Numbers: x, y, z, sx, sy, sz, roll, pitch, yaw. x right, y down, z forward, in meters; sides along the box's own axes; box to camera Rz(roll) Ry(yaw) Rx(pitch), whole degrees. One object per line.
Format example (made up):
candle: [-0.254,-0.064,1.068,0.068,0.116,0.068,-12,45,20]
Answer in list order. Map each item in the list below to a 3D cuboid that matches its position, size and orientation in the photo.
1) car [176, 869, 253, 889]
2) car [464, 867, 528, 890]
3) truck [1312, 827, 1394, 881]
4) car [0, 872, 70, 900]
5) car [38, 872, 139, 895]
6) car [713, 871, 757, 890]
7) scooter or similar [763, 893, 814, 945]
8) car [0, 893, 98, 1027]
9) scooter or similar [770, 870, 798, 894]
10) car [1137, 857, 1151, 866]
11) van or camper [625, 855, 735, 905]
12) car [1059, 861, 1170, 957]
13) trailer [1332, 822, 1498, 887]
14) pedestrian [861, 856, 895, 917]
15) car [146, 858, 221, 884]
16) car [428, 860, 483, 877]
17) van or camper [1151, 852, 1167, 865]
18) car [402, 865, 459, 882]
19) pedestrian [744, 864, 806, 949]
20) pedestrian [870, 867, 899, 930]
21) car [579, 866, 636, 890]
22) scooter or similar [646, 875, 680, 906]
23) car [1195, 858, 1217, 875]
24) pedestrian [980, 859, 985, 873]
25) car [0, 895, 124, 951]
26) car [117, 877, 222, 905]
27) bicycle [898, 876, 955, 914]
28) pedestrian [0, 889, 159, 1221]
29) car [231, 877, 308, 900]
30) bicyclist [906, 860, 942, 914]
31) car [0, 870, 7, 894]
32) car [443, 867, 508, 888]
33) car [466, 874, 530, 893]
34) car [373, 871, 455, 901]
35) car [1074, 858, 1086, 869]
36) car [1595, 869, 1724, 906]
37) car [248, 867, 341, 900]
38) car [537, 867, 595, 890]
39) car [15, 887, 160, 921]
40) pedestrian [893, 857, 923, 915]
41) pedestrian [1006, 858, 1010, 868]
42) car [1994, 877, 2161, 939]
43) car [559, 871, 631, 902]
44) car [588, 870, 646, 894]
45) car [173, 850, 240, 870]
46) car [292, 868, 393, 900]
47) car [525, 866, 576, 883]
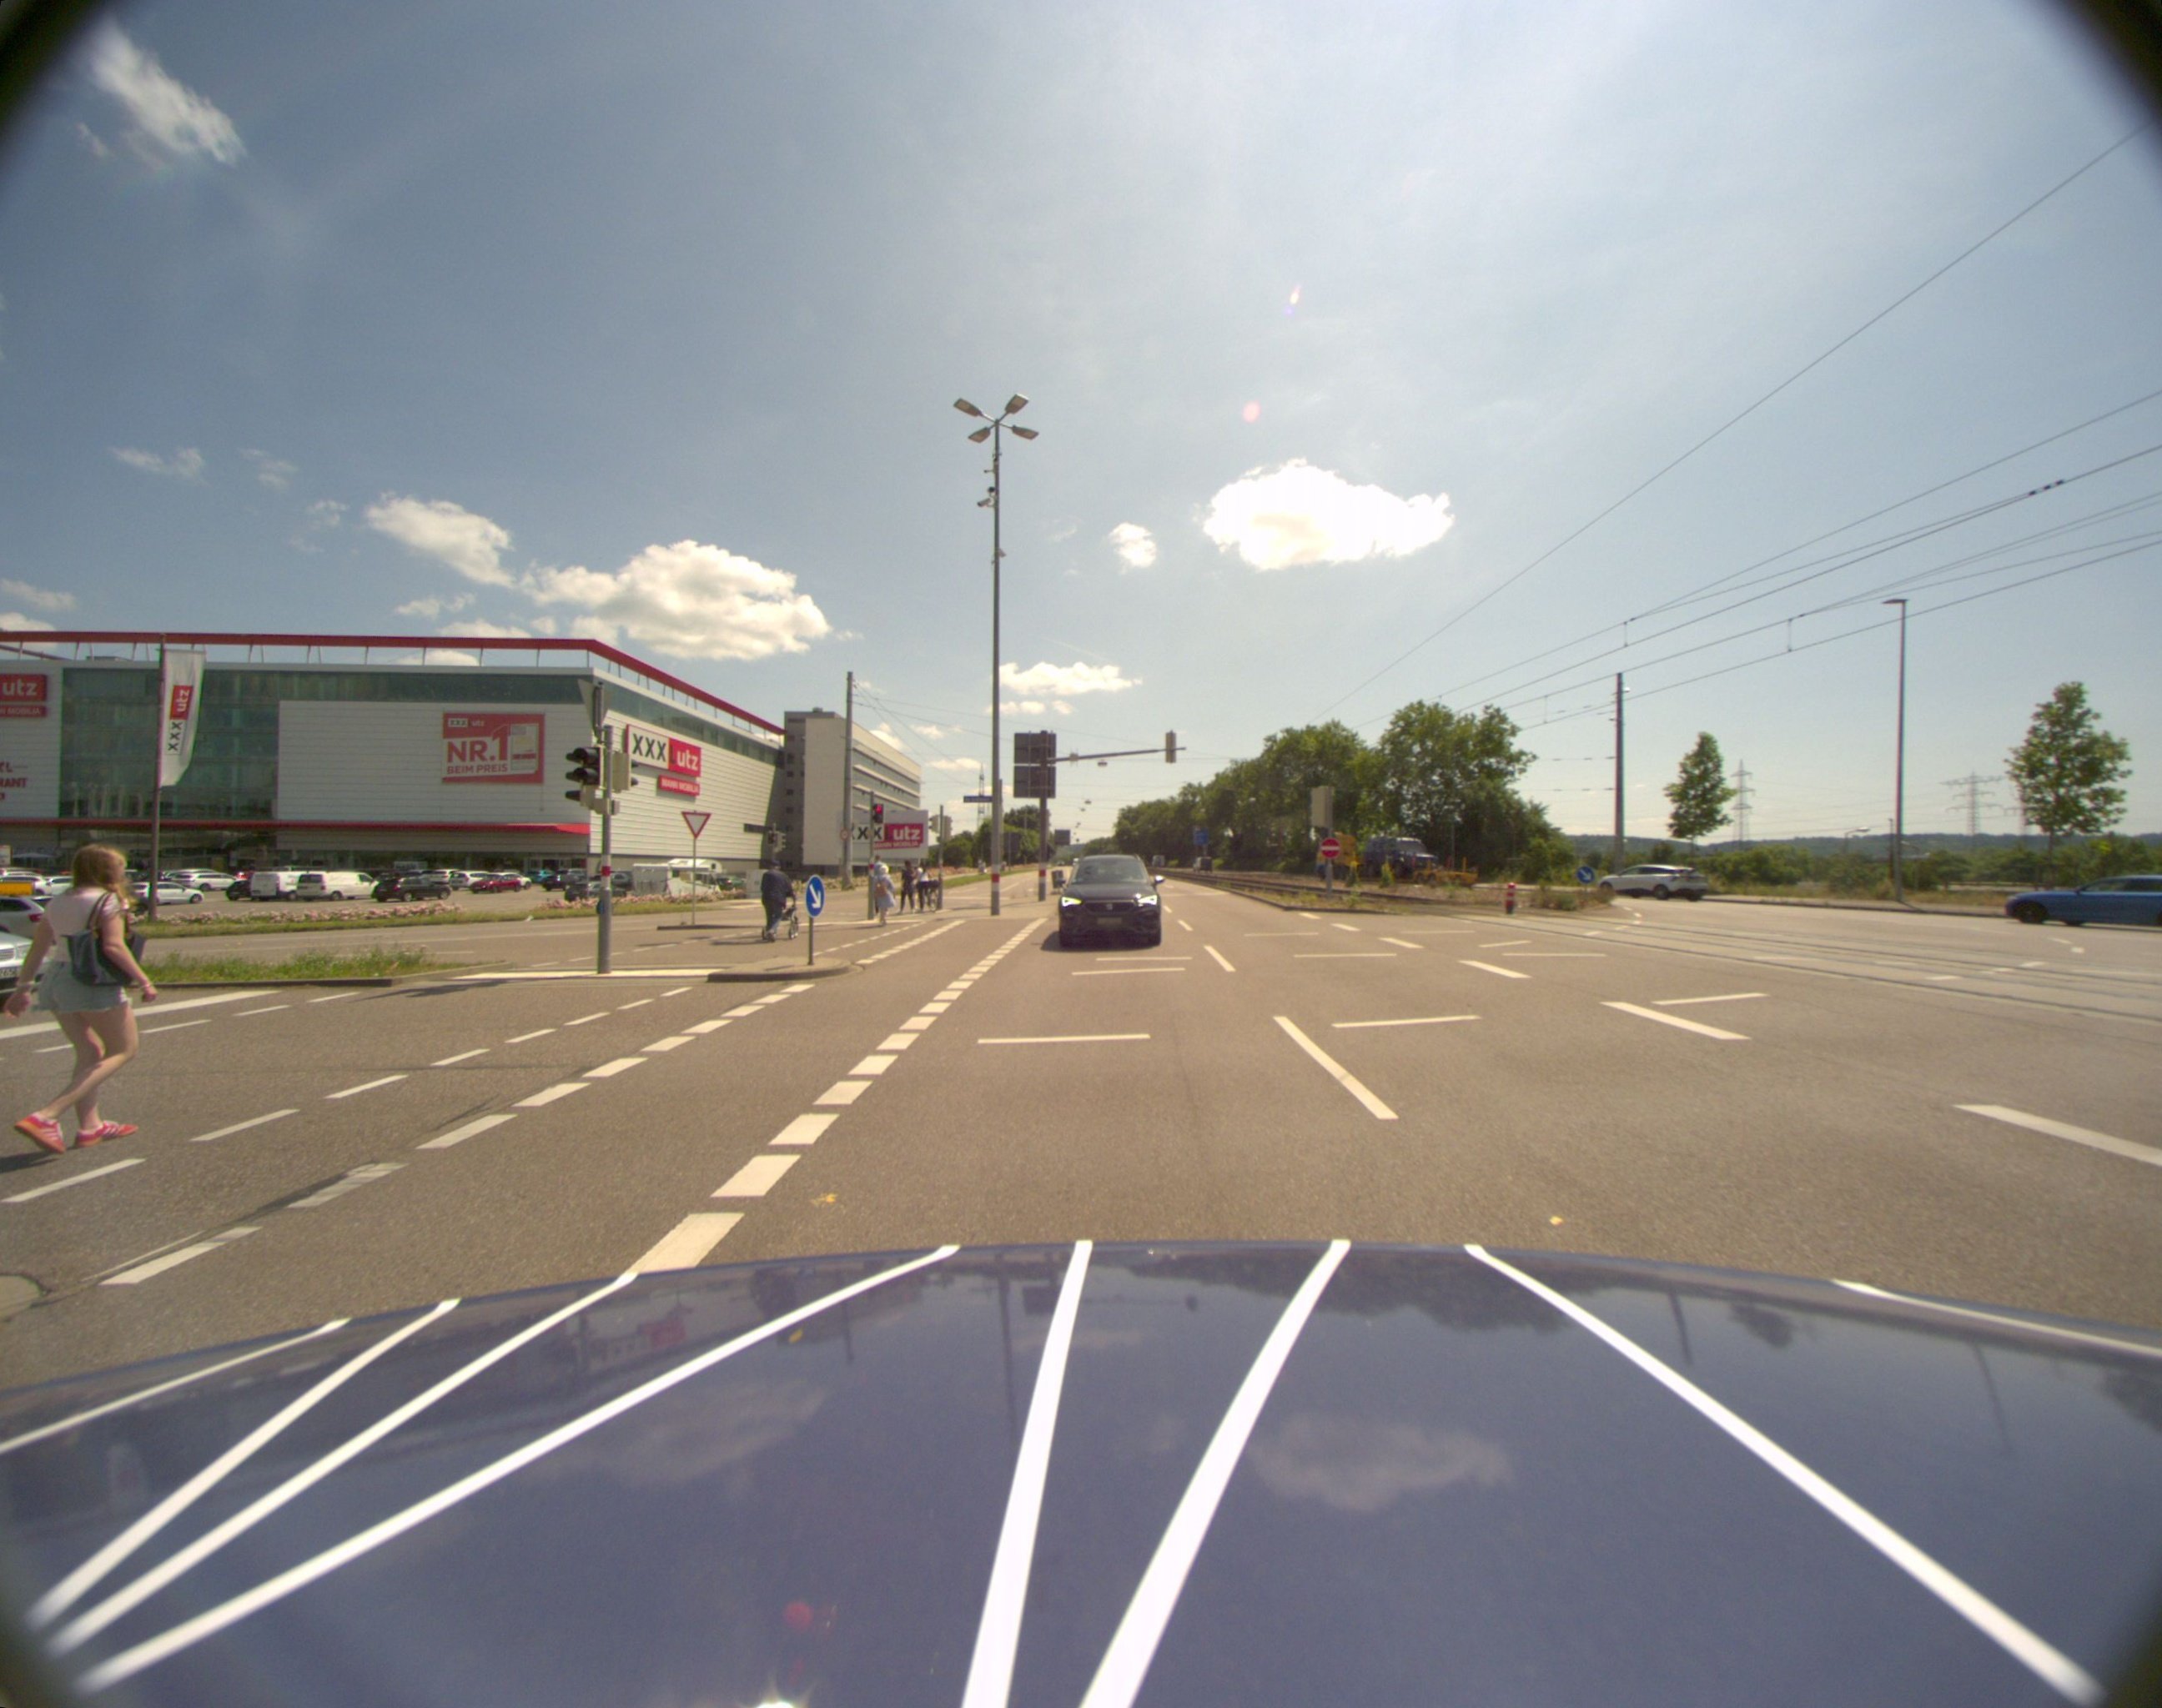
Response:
car: [-70.477,2.006,61.873,1.693,1.518,4.000,-1,0,0]
car: [-50.612,2.077,65.885,1.998,1.883,4.520,-1,0,1]
truck: [21.533,0.048,60.769,3.135,4.015,7.470,0,0,-7]
car: [-68.053,2.019,47.924,1.852,1.692,4.871,-1,0,3]
car: [-70.278,2.067,53.894,1.852,1.430,4.001,-1,0,3]
car: [-30.830,2.308,67.855,1.999,1.554,4.519,0,0,-2]
scooter or similar: [-6.144,1.363,15.996,0.691,1.025,0.863,-1,0,5]
car: [-13.405,1.158,7.970,3.833,1.389,1.804,0,0,0]
scooter or similar: [-15.333,1.458,39.194,0.479,1.120,1.281,-1,3,28]
car: [12.997,1.514,156.757,2.000,1.627,4.263,2,0,-6]
van or camper: [-26.357,1.613,50.418,2.714,2.929,7.616,-1,0,5]
car: [0.624,0.935,14.630,1.819,1.583,4.001,-1,0,2]
trailer: [22.513,0.270,53.044,3.125,3.847,15.477,1,-2,-7]
pedestrian: [-6.318,0.995,23.670,0.805,1.854,0.798,-1,0,3]
car: [-72.522,1.323,61.491,1.723,2.002,3.604,-1,0,1]
car: [-64.450,1.456,78.361,1.999,1.682,4.519,-1,0,-1]
van or camper: [16.222,0.848,157.654,2.000,2.571,5.840,1,0,-7]
car: [-66.743,1.980,78.030,1.999,1.682,4.519,-1,0,-1]
pedestrian: [-6.200,1.046,15.432,0.784,1.663,0.947,-1,0,5]
pedestrian: [-4.800,1.073,18.629,0.591,1.467,0.805,-2,0,-10]
car: [-40.559,2.021,65.257,1.998,1.883,4.520,-1,0,1]
scooter or similar: [-18.191,1.596,33.090,0.479,1.283,1.281,-1,0,17]
car: [15.861,1.659,96.523,1.998,1.826,4.437,2,-4,1]
pedestrian: [-12.844,1.542,99.223,0.518,1.782,0.634,0,0,-1]
car: [-29.989,1.884,21.023,4.459,1.390,1.803,0,0,-5]
car: [-56.040,2.228,46.831,1.854,1.537,3.998,-1,0,-5]
bicycle: [-5.027,1.315,24.683,1.873,1.155,0.833,-1,-1,40]
pedestrian: [-5.723,1.034,4.167,0.528,1.656,0.640,-1,0,3]
car: [-55.127,2.314,51.709,1.693,1.452,3.399,0,0,-3]
bicyclist: [-5.062,1.048,24.517,0.797,1.690,0.818,0,0,39]
car: [-77.892,2.002,52.344,1.853,1.692,4.172,0,-1,2]
car: [-53.351,2.061,67.081,1.998,1.724,4.520,-1,0,1]
car: [-48.040,2.438,62.708,1.859,1.403,4.259,2,-3,2]
car: [-45.421,2.126,51.873,1.589,1.900,4.489,0,0,2]
car: [-0.131,1.609,127.600,1.819,1.829,4.001,0,0,3]
car: [25.294,1.415,33.428,2.000,1.454,4.275,0,0,-10]
car: [-53.168,1.972,51.472,1.998,2.002,4.000,-1,0,1]
car: [-45.813,2.141,67.748,1.998,1.883,4.520,-1,0,1]
car: [-48.138,2.379,36.949,1.853,1.368,3.943,-1,0,0]
pedestrian: [-5.396,0.976,23.666,0.806,1.749,0.796,-1,0,-17]
pedestrian: [-11.409,1.417,118.269,0.599,1.645,0.634,0,0,-1]
car: [27.569,1.379,19.845,2.000,1.436,4.346,-1,0,-10]
car: [-33.191,2.176,52.052,1.998,2.001,4.454,0,0,2]
car: [-38.163,2.259,62.636,1.998,1.707,4.503,-1,0,1]
car: [-90.241,0.596,78.504,1.849,2.002,4.286,-1,0,1]
car: [-50.490,2.005,52.110,1.998,2.002,4.965,-1,0,1]
car: [-54.696,2.079,78.422,1.998,1.682,4.520,-1,0,1]
